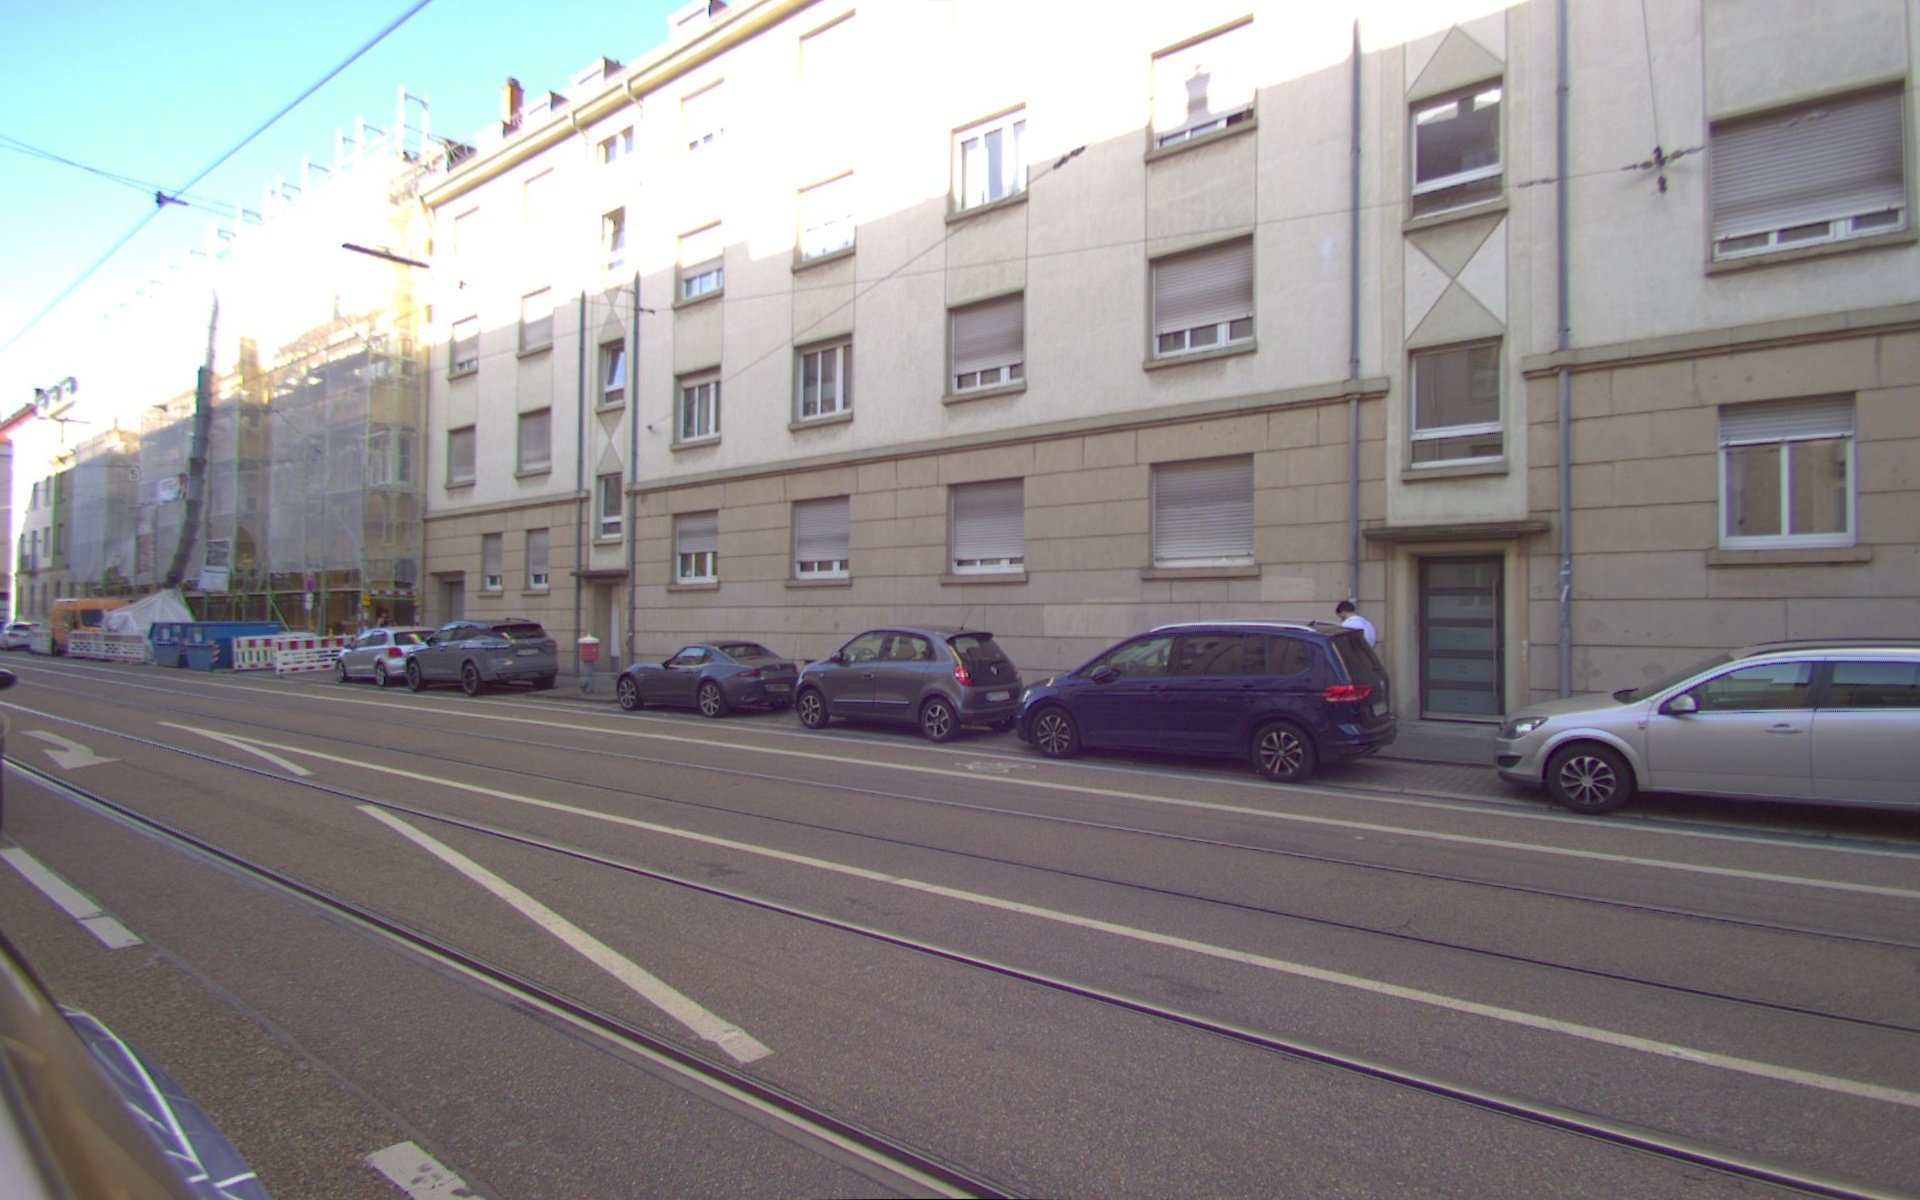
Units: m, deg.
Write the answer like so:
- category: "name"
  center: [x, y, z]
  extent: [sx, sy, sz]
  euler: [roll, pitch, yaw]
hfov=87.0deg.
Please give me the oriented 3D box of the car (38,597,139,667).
- category: "car"
  center: [-36.432, 1.257, 42.245]
  extent: [5.867, 2.717, 2.188]
  euler: [-1, 0, 39]

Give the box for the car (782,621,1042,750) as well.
- category: "car"
  center: [-0.763, 1.131, 14.749]
  extent: [3.591, 1.570, 1.624]
  euler: [-1, 1, 38]

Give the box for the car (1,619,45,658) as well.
- category: "car"
  center: [-49.819, 2.022, 53.774]
  extent: [1.635, 1.937, 3.768]
  euler: [-1, 0, -44]

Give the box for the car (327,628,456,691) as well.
- category: "car"
  center: [-14.342, 1.446, 25.490]
  extent: [3.502, 1.390, 1.546]
  euler: [-1, 1, 37]

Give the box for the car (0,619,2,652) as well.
- category: "car"
  center: [-59.429, 2.135, 61.287]
  extent: [4.180, 1.971, 1.550]
  euler: [-1, 0, 39]

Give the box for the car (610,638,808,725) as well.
- category: "car"
  center: [-4.404, 1.344, 17.578]
  extent: [3.518, 1.229, 1.458]
  euler: [-1, 1, 37]

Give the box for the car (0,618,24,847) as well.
- category: "car"
  center: [-7.970, 0.871, 7.021]
  extent: [3.814, 1.436, 1.705]
  euler: [-2, -3, 40]

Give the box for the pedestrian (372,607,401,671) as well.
- category: "pedestrian"
  center: [-17.370, 1.172, 30.661]
  extent: [0.762, 1.886, 0.513]
  euler: [-1, 0, 38]

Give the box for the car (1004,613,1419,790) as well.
- category: "car"
  center: [2.803, 1.004, 11.750]
  extent: [4.318, 1.645, 1.798]
  euler: [-1, 1, 37]

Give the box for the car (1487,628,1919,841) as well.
- category: "car"
  center: [7.009, 1.023, 8.510]
  extent: [4.364, 1.465, 1.709]
  euler: [-1, 1, 37]

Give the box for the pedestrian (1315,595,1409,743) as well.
- category: "pedestrian"
  center: [5.091, 0.840, 12.815]
  extent: [1.002, 1.781, 0.657]
  euler: [-1, 0, 31]

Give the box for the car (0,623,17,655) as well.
- category: "car"
  center: [-54.742, 2.199, 57.207]
  extent: [3.933, 1.696, 1.550]
  euler: [-1, 0, 39]

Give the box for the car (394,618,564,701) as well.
- category: "car"
  center: [-10.884, 1.259, 22.796]
  extent: [4.152, 1.621, 1.731]
  euler: [-1, 1, 37]
